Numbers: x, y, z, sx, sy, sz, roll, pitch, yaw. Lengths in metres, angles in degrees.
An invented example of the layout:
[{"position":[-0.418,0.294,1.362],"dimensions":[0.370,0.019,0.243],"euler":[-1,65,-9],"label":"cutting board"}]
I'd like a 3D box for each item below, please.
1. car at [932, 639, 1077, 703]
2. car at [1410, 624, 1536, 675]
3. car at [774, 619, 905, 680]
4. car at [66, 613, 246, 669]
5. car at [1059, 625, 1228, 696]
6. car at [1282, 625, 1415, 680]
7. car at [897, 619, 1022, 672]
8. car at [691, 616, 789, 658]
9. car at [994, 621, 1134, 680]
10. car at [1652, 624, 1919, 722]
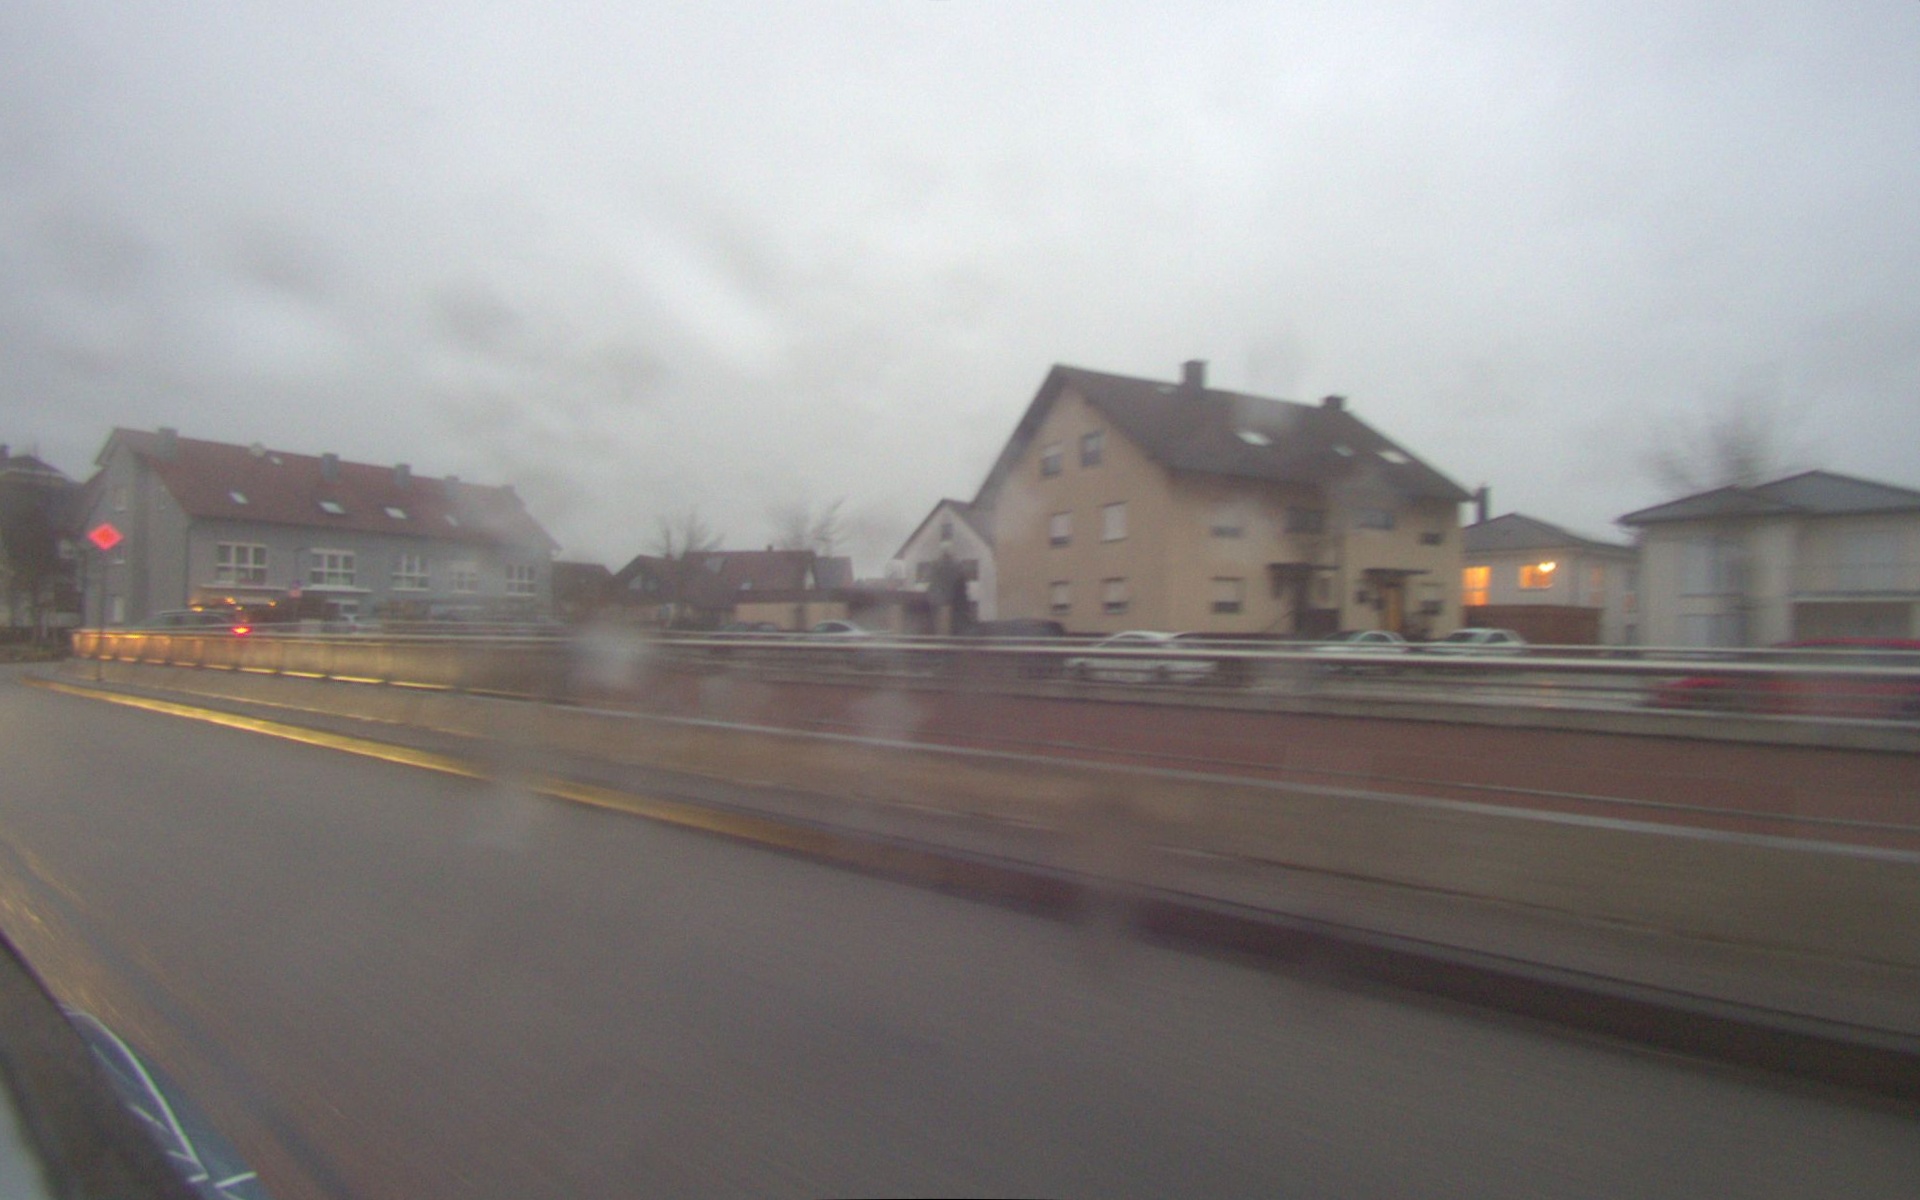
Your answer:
[{"position":[1.249,1.997,29.503],"dimensions":[1.875,1.529,4.003],"euler":[-2,1,-45],"label":"car"},{"position":[17.910,1.675,35.327],"dimensions":[3.931,1.556,2.006],"euler":[-1,0,-29],"label":"car"},{"position":[-4.209,1.674,35.046],"dimensions":[4.353,1.919,1.974],"euler":[-2,0,39],"label":"car"},{"position":[-26.713,1.308,33.757],"dimensions":[1.994,1.633,4.297],"euler":[-1,0,33],"label":"car"},{"position":[4.717,1.521,26.331],"dimensions":[1.796,1.636,3.987],"euler":[-2,0,-45],"label":"car"},{"position":[12.516,1.640,32.581],"dimensions":[3.971,1.535,1.819],"euler":[-2,0,-28],"label":"car"},{"position":[-0.051,1.502,34.276],"dimensions":[3.998,1.659,1.816],"euler":[-2,0,41],"label":"car"},{"position":[-8.398,1.382,38.529],"dimensions":[3.831,1.425,1.659],"euler":[0,1,40],"label":"car"},{"position":[3.150,1.505,31.176],"dimensions":[4.000,1.659,1.791],"euler":[-2,0,43],"label":"car"},{"position":[14.268,1.121,16.473],"dimensions":[1.854,1.453,4.652],"euler":[1,-2,-43],"label":"car"}]
